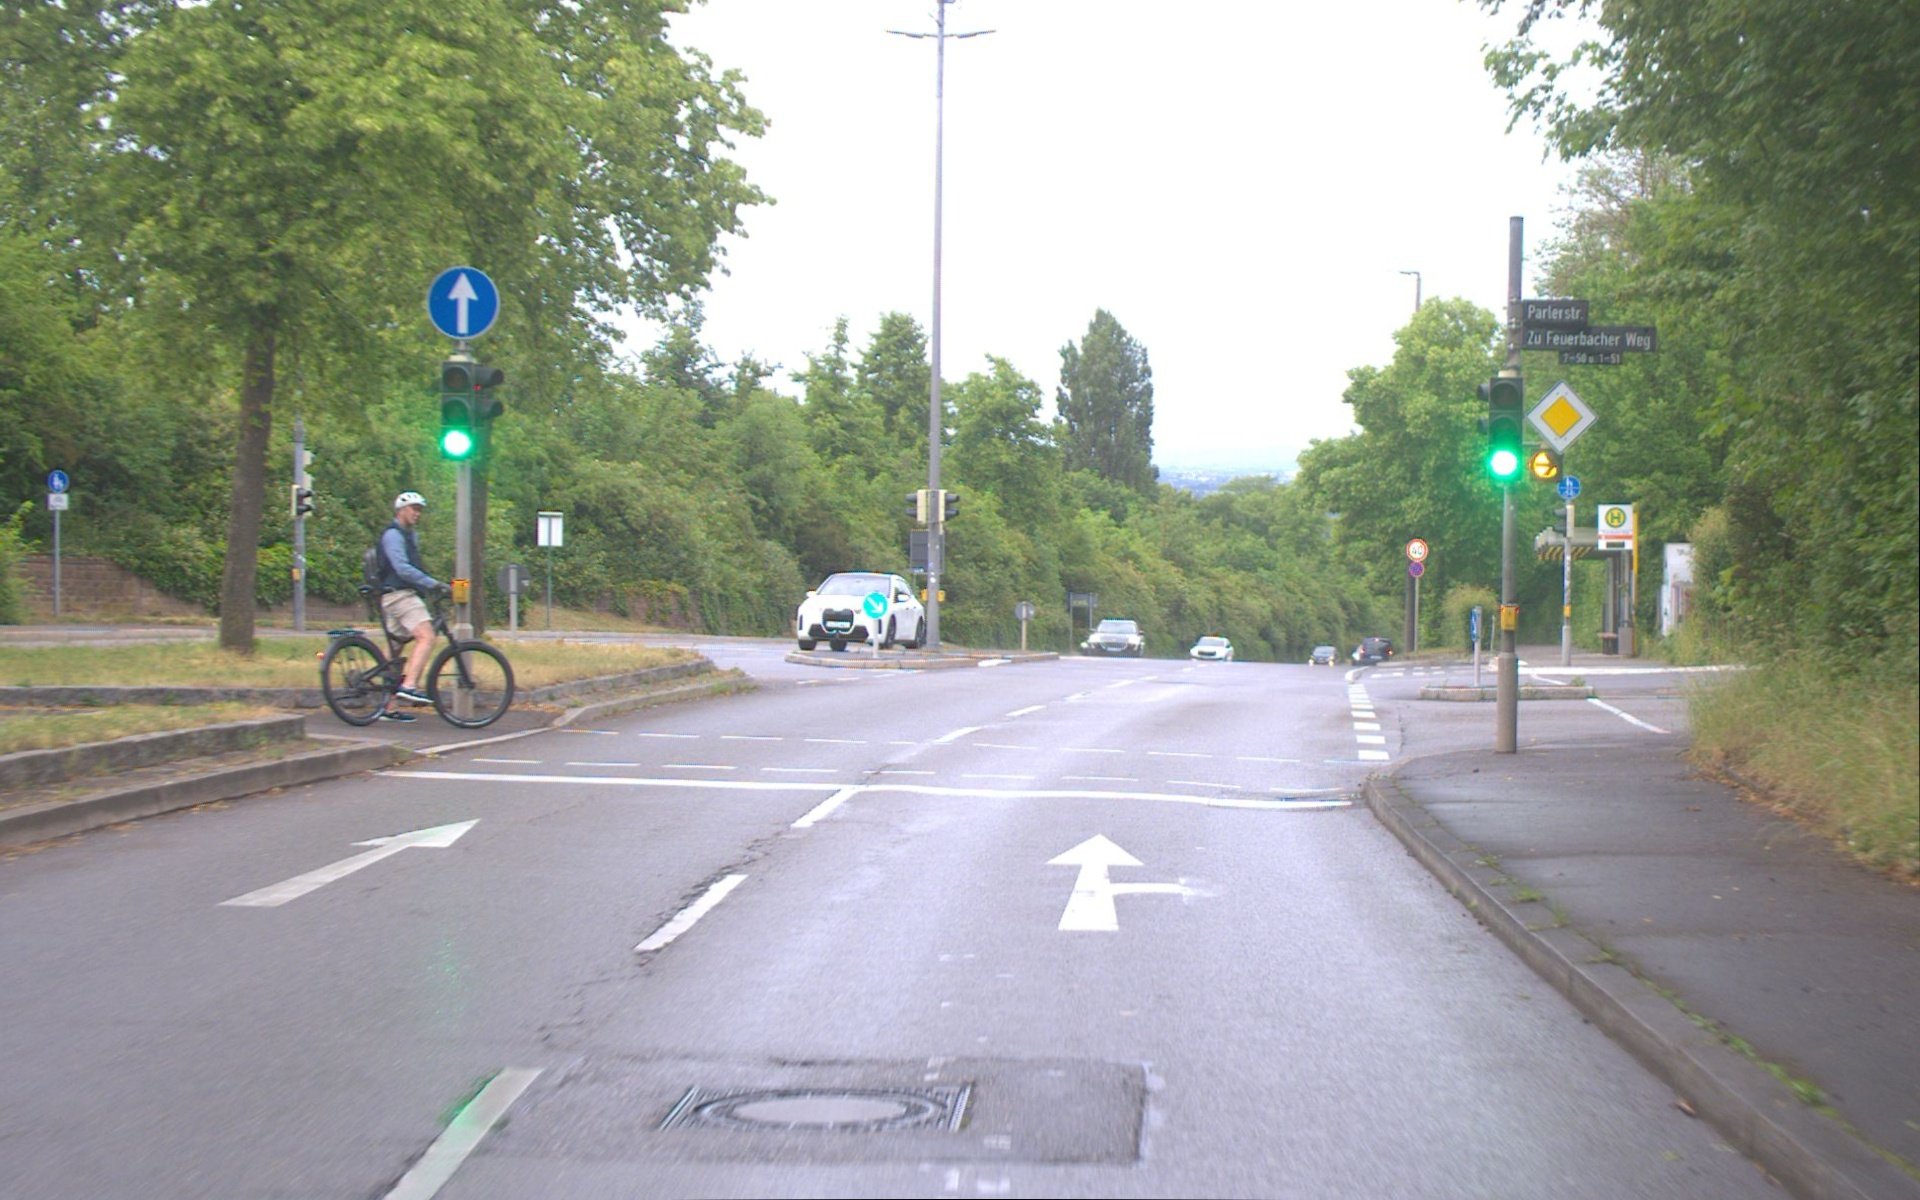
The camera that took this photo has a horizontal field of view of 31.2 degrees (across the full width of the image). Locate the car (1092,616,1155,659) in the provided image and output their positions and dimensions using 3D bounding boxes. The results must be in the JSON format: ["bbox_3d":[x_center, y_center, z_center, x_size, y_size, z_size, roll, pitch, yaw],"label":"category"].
[{"bbox_3d":[5.891,1.351,123.370,1.779,1.467,4.643,2,-1,9],"label":"car"}]

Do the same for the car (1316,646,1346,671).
[{"bbox_3d":[24.734,3.913,229.006,1.725,1.560,3.891,4,-1,8],"label":"car"}]

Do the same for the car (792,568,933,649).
[{"bbox_3d":[-2.041,0.195,73.458,1.946,1.630,5.002,2,0,11],"label":"car"}]

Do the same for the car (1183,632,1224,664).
[{"bbox_3d":[12.799,2.519,180.879,1.724,1.585,3.998,1,0,10],"label":"car"}]

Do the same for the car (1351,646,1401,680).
[{"bbox_3d":[20.705,3.115,171.036,1.946,1.585,3.925,2,0,14],"label":"car"}]

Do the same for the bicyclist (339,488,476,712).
[{"bbox_3d":[-4.403,0.016,27.401,0.724,1.746,0.799,-2,-3,40],"label":"bicyclist"}]

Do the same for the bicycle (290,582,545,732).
[{"bbox_3d":[-4.289,0.445,27.343,0.553,1.139,2.135,2,1,40],"label":"bicycle"}]
